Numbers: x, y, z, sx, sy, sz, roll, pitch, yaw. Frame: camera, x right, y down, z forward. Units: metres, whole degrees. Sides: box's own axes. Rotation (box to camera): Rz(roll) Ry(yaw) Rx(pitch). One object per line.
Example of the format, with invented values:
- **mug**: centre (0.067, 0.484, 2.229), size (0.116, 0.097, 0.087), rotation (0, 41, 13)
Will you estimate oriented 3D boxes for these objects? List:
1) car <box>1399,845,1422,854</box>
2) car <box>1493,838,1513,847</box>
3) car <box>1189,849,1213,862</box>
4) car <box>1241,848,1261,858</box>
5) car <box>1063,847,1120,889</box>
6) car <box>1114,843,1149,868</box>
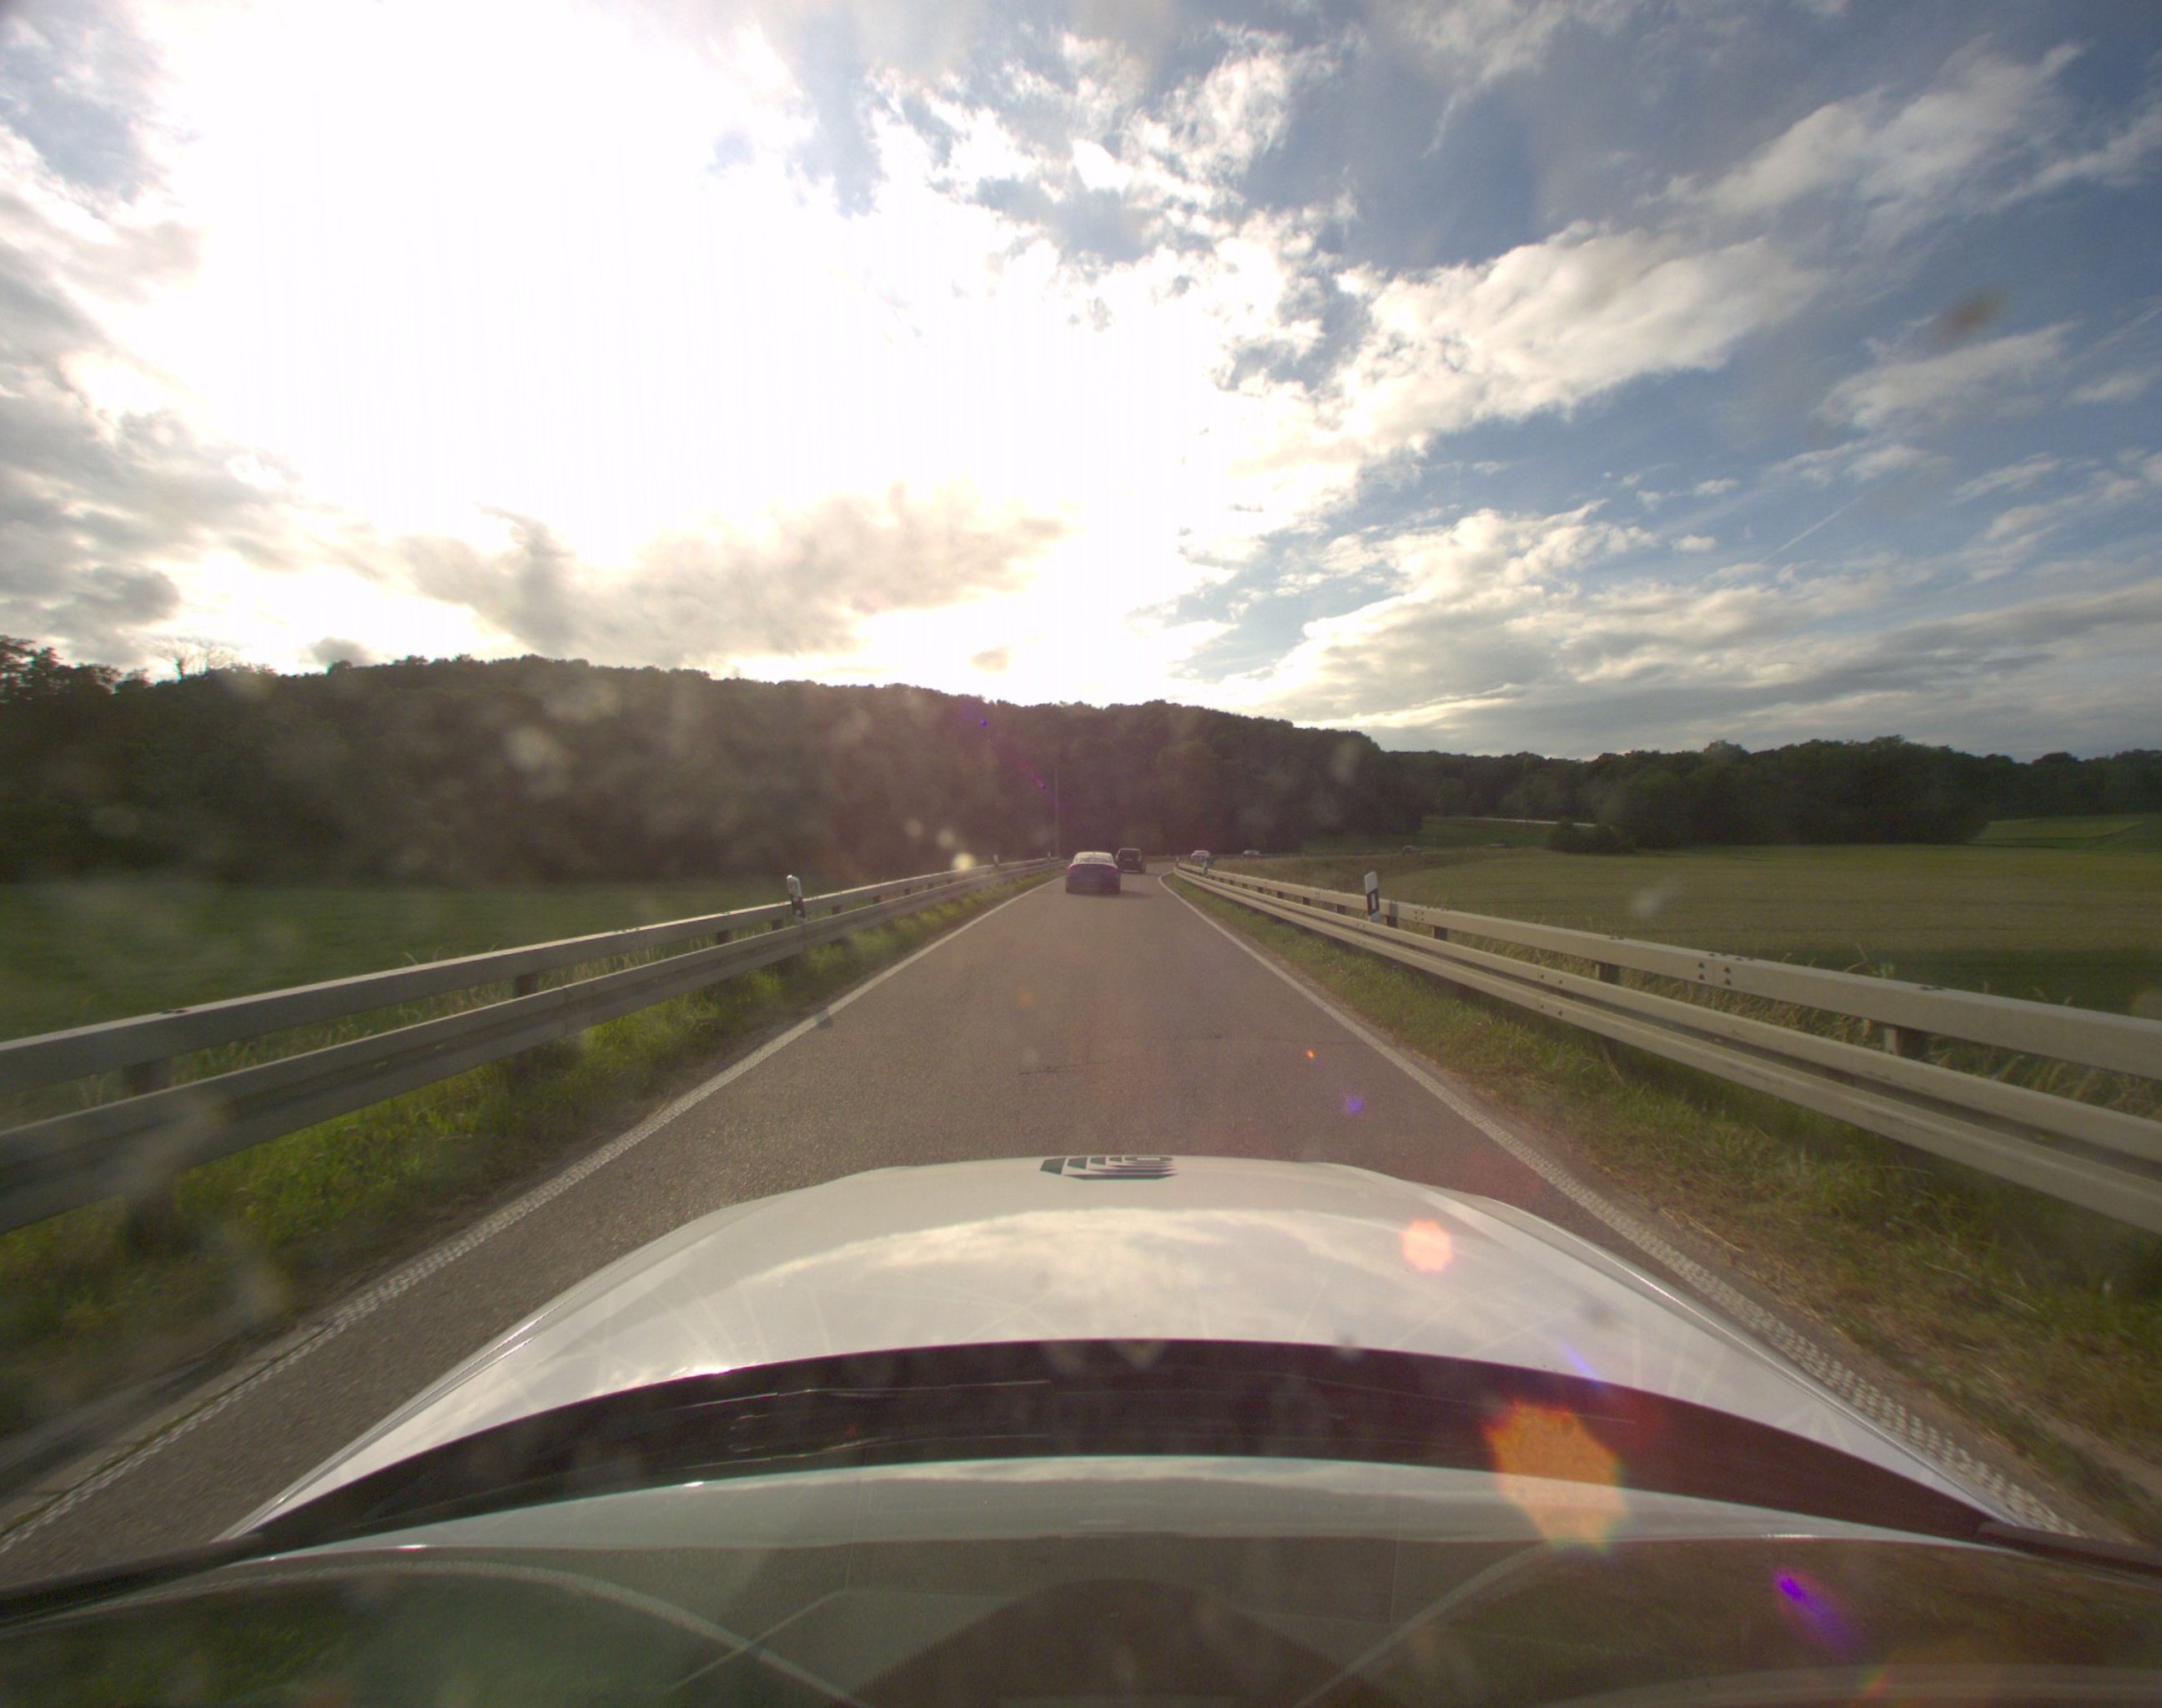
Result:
- **car**: centre (61.470, -0.835, 151.990), size (4.195, 1.679, 1.979), rotation (0, 1, -35)
- **car**: centre (88.839, -2.383, 171.334), size (4.014, 1.772, 1.980), rotation (0, 0, -33)
- **car**: centre (12.962, 0.161, 87.800), size (1.668, 1.376, 4.021), rotation (0, 0, 21)
- **car**: centre (22.588, -0.149, 108.363), size (1.457, 1.227, 3.320), rotation (0, -1, 34)
- **car**: centre (0.426, 0.432, 28.140), size (1.811, 1.339, 4.352), rotation (0, 0, 2)
- **car**: centre (3.358, 0.068, 53.665), size (1.850, 1.568, 4.011), rotation (0, 0, 10)
